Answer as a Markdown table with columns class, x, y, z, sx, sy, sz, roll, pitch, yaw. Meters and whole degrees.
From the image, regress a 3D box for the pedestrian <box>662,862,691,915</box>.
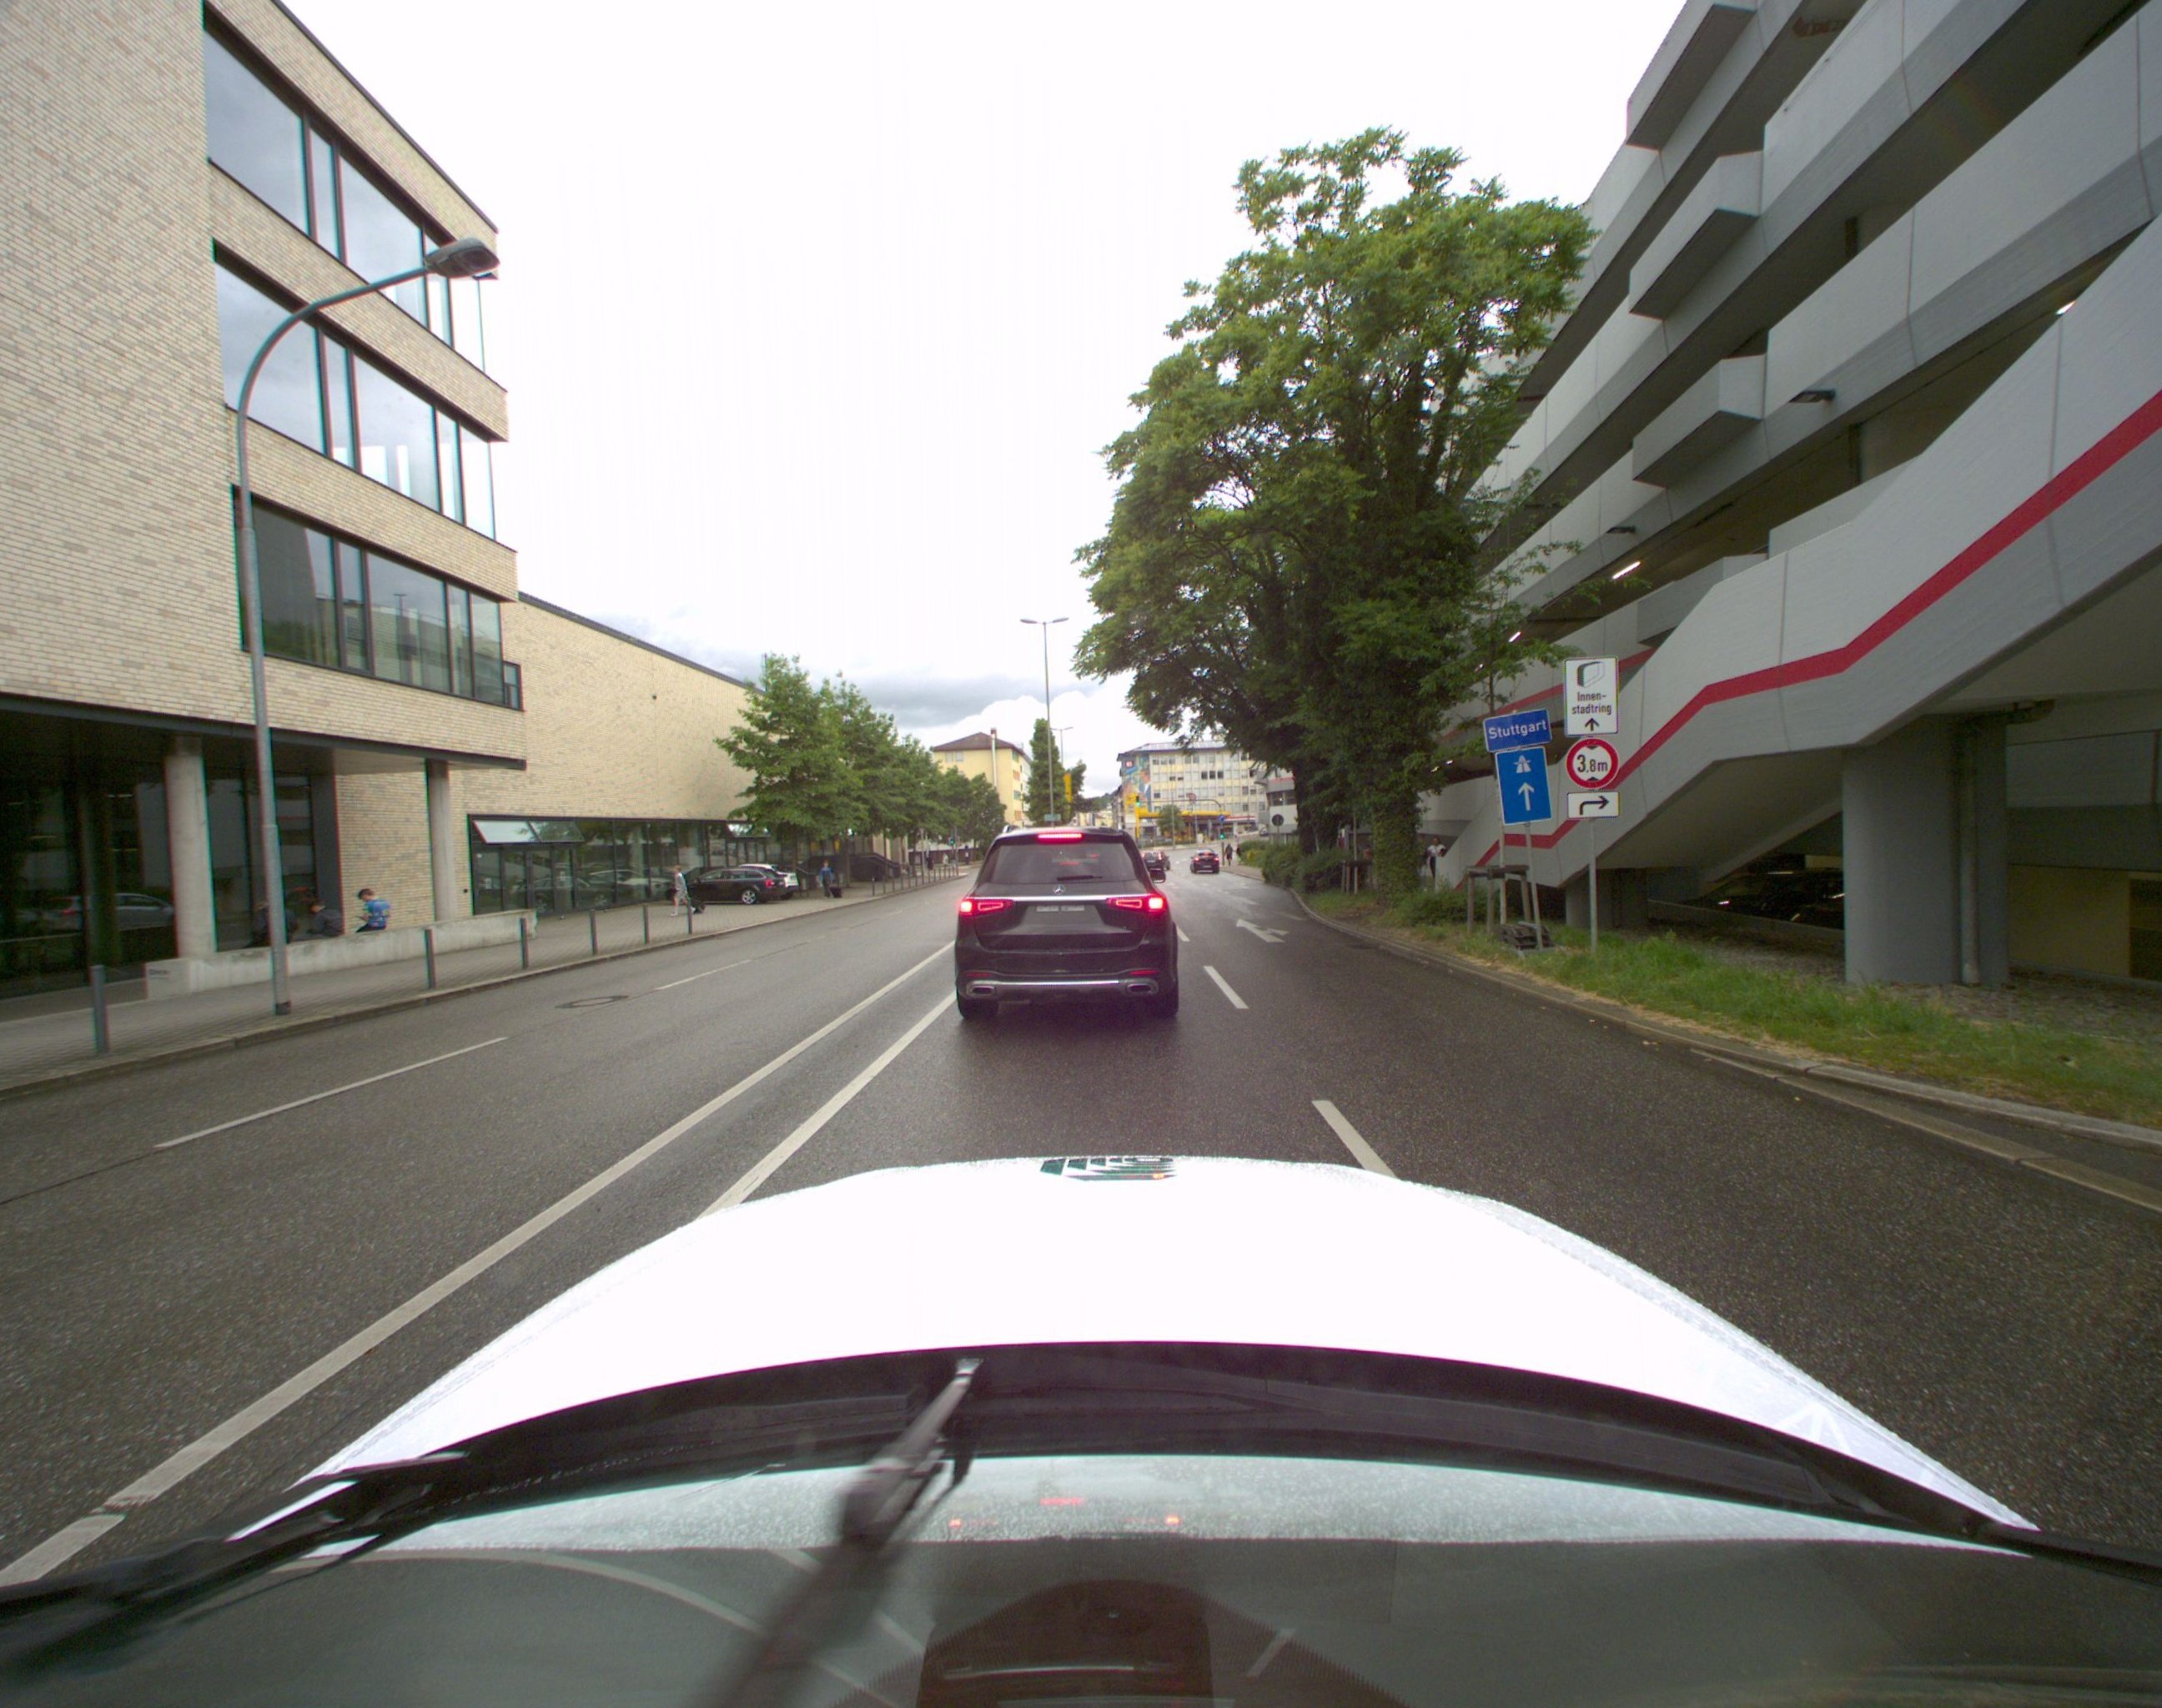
| class | x | y | z | sx | sy | sz | roll | pitch | yaw |
| --- | --- | --- | --- | --- | --- | --- | --- | --- | --- |
| pedestrian | -13.143 | 1.116 | 26.485 | 0.673 | 1.697 | 0.479 | 0 | 0 | 2 |

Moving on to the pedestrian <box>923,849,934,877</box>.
| class | x | y | z | sx | sy | sz | roll | pitch | yaw |
| --- | --- | --- | --- | --- | --- | --- | --- | --- | --- |
| pedestrian | -11.176 | 0.682 | 59.802 | 0.586 | 2.014 | 0.749 | 2 | -1 | 0 |

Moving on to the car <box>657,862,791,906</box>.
| class | x | y | z | sx | sy | sz | roll | pitch | yaw |
| --- | --- | --- | --- | --- | --- | --- | --- | --- | --- |
| car | -14.192 | 1.171 | 32.617 | 4.461 | 1.587 | 1.997 | -1 | 0 | -5 |

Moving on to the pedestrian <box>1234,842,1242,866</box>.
| class | x | y | z | sx | sy | sz | roll | pitch | yaw |
| --- | --- | --- | --- | --- | --- | --- | --- | --- | --- |
| pedestrian | 12.605 | -0.017 | 65.235 | 0.518 | 1.911 | 0.556 | 0 | -1 | 1 |

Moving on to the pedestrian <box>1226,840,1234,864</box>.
| class | x | y | z | sx | sy | sz | roll | pitch | yaw |
| --- | --- | --- | --- | --- | --- | --- | --- | --- | --- |
| pedestrian | 12.093 | -0.130 | 66.184 | 0.617 | 1.935 | 0.611 | 0 | 0 | 6 |

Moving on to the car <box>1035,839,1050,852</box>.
| class | x | y | z | sx | sy | sz | roll | pitch | yaw |
| --- | --- | --- | --- | --- | --- | --- | --- | --- | --- |
| car | -5.791 | -1.257 | 121.871 | 1.987 | 1.875 | 5.141 | 0 | -1 | 0 |

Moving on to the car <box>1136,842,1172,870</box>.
| class | x | y | z | sx | sy | sz | roll | pitch | yaw |
| --- | --- | --- | --- | --- | --- | --- | --- | --- | --- |
| car | 5.343 | 0.180 | 59.844 | 1.990 | 2.014 | 3.993 | 0 | -1 | -4 |

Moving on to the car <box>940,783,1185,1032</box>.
| class | x | y | z | sx | sy | sz | roll | pitch | yaw |
| --- | --- | --- | --- | --- | --- | --- | --- | --- | --- |
| car | -0.132 | 0.456 | 8.622 | 1.987 | 2.014 | 4.000 | 0 | -1 | 0 |

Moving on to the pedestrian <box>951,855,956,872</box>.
| class | x | y | z | sx | sy | sz | roll | pitch | yaw |
| --- | --- | --- | --- | --- | --- | --- | --- | --- | --- |
| pedestrian | -12.785 | 0.973 | 81.834 | 0.398 | 1.644 | 0.567 | 0 | -1 | 2 |

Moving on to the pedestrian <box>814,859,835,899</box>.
| class | x | y | z | sx | sy | sz | roll | pitch | yaw |
| --- | --- | --- | --- | --- | --- | --- | --- | --- | --- |
| pedestrian | -11.420 | 1.100 | 36.242 | 0.686 | 1.725 | 0.754 | 0 | 1 | 0 |

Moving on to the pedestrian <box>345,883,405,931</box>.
| class | x | y | z | sx | sy | sz | roll | pitch | yaw |
| --- | --- | --- | --- | --- | --- | --- | --- | --- | --- |
| pedestrian | -13.485 | 1.011 | 15.564 | 0.680 | 0.886 | 0.523 | 0 | -1 | -5 |

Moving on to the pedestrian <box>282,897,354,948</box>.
| class | x | y | z | sx | sy | sz | roll | pitch | yaw |
| --- | --- | --- | --- | --- | --- | --- | --- | --- | --- |
| pedestrian | -13.506 | 1.203 | 14.432 | 0.584 | 0.845 | 0.727 | -1 | -1 | 1 |

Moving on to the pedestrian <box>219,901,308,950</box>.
| class | x | y | z | sx | sy | sz | roll | pitch | yaw |
| --- | --- | --- | --- | --- | --- | --- | --- | --- | --- |
| pedestrian | -13.515 | 1.189 | 13.487 | 0.595 | 0.786 | 0.760 | 0 | -7 | 1 |

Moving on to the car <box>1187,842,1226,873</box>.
| class | x | y | z | sx | sy | sz | roll | pitch | yaw |
| --- | --- | --- | --- | --- | --- | --- | --- | --- | --- |
| car | 8.338 | 0.209 | 54.475 | 1.987 | 2.013 | 3.999 | -1 | 0 | 0 |

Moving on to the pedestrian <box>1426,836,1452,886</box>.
| class | x | y | z | sx | sy | sz | roll | pitch | yaw |
| --- | --- | --- | --- | --- | --- | --- | --- | --- | --- |
| pedestrian | 10.765 | 0.212 | 24.476 | 0.579 | 1.501 | 0.505 | 0 | -1 | 7 |

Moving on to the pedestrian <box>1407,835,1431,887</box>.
| class | x | y | z | sx | sy | sz | roll | pitch | yaw |
| --- | --- | --- | --- | --- | --- | --- | --- | --- | --- |
| pedestrian | 10.193 | 0.216 | 24.563 | 0.548 | 1.532 | 0.489 | 0 | -1 | 8 |

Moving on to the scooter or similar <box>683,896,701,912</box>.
| class | x | y | z | sx | sy | sz | roll | pitch | yaw |
| --- | --- | --- | --- | --- | --- | --- | --- | --- | --- |
| scooter or similar | -12.925 | 1.645 | 27.057 | 0.278 | 0.501 | 0.617 | 0 | -1 | 6 |

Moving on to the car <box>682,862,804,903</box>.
| class | x | y | z | sx | sy | sz | roll | pitch | yaw |
| --- | --- | --- | --- | --- | --- | --- | --- | --- | --- |
| car | -14.607 | 1.212 | 35.390 | 4.407 | 1.574 | 1.998 | -1 | 1 | -4 |

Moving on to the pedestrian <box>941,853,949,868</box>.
| class | x | y | z | sx | sy | sz | roll | pitch | yaw |
| --- | --- | --- | --- | --- | --- | --- | --- | --- | --- |
| pedestrian | -13.752 | 0.685 | 82.305 | 0.709 | 1.462 | 0.598 | 0 | -1 | 0 |
